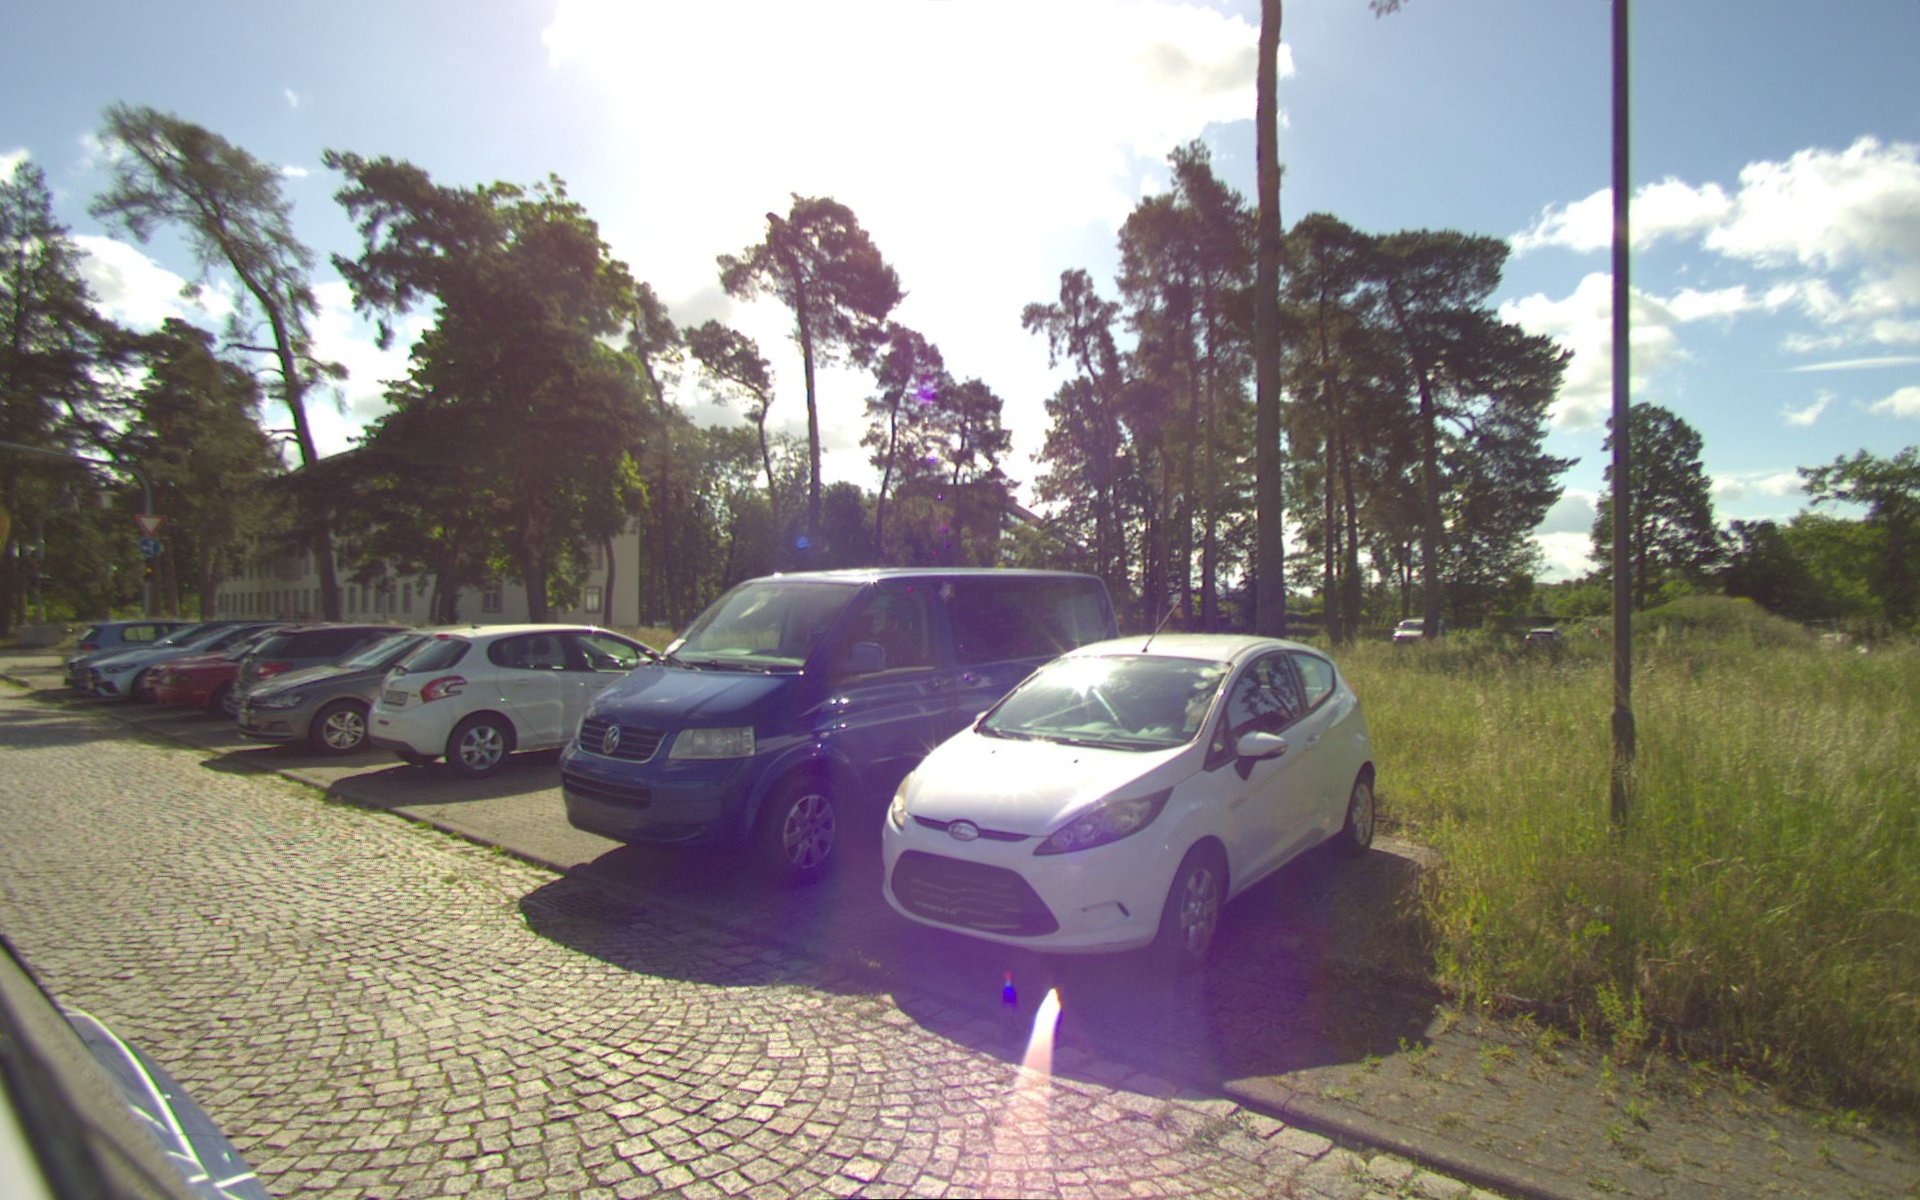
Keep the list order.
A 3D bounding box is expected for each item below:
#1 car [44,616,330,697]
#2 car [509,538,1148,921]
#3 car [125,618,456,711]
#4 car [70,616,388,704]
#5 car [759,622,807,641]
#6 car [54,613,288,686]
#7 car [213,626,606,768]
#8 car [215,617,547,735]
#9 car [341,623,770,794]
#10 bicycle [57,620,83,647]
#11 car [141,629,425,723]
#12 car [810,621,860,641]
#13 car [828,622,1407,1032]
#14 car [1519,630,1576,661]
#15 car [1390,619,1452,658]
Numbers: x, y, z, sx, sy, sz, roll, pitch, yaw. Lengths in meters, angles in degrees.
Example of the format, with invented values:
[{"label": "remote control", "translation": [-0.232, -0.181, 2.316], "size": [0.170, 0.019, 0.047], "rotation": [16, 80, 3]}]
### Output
[{"label": "car", "translation": [-16.411, 1.119, 21.713], "size": [1.981, 1.463, 4.538], "rotation": [0, 0, 37]}, {"label": "car", "translation": [-0.652, 0.666, 7.679], "size": [2.004, 1.983, 4.669], "rotation": [-1, 0, 41]}, {"label": "car", "translation": [-12.243, 1.080, 18.800], "size": [1.938, 1.431, 4.814], "rotation": [-1, -1, 41]}, {"label": "car", "translation": [-14.280, 1.080, 20.020], "size": [1.938, 1.431, 4.814], "rotation": [0, 0, 41]}, {"label": "car", "translation": [-15.909, 2.837, 91.057], "size": [1.720, 1.593, 4.051], "rotation": [-1, -2, 42]}, {"label": "car", "translation": [-18.277, 1.092, 23.567], "size": [1.947, 1.494, 3.987], "rotation": [-2, -1, 39]}, {"label": "car", "translation": [-6.889, 1.090, 12.967], "size": [1.922, 1.436, 4.033], "rotation": [-1, -1, 42]}, {"label": "car", "translation": [-8.638, 1.033, 15.355], "size": [1.821, 1.463, 4.033], "rotation": [0, 0, 42]}, {"label": "car", "translation": [-4.378, 1.049, 11.468], "size": [1.823, 1.486, 4.153], "rotation": [-1, -1, 41]}, {"label": "bicycle", "translation": [-43.638, 1.647, 49.613], "size": [2.113, 1.293, 0.613], "rotation": [-1, 1, 40]}, {"label": "car", "translation": [-11.035, 1.164, 16.657], "size": [1.759, 1.243, 3.592], "rotation": [0, 0, 42]}, {"label": "car", "translation": [-10.559, 2.669, 85.639], "size": [1.840, 1.642, 4.002], "rotation": [-1, -3, 43]}, {"label": "car", "translation": [1.185, 0.897, 5.832], "size": [1.681, 1.451, 3.779], "rotation": [-1, 0, 38]}, {"label": "car", "translation": [32.342, 2.464, 55.690], "size": [1.912, 1.617, 4.183], "rotation": [-1, -2, 42]}, {"label": "car", "translation": [27.296, 2.253, 59.847], "size": [1.957, 2.180, 4.794], "rotation": [-1, -2, 42]}]
